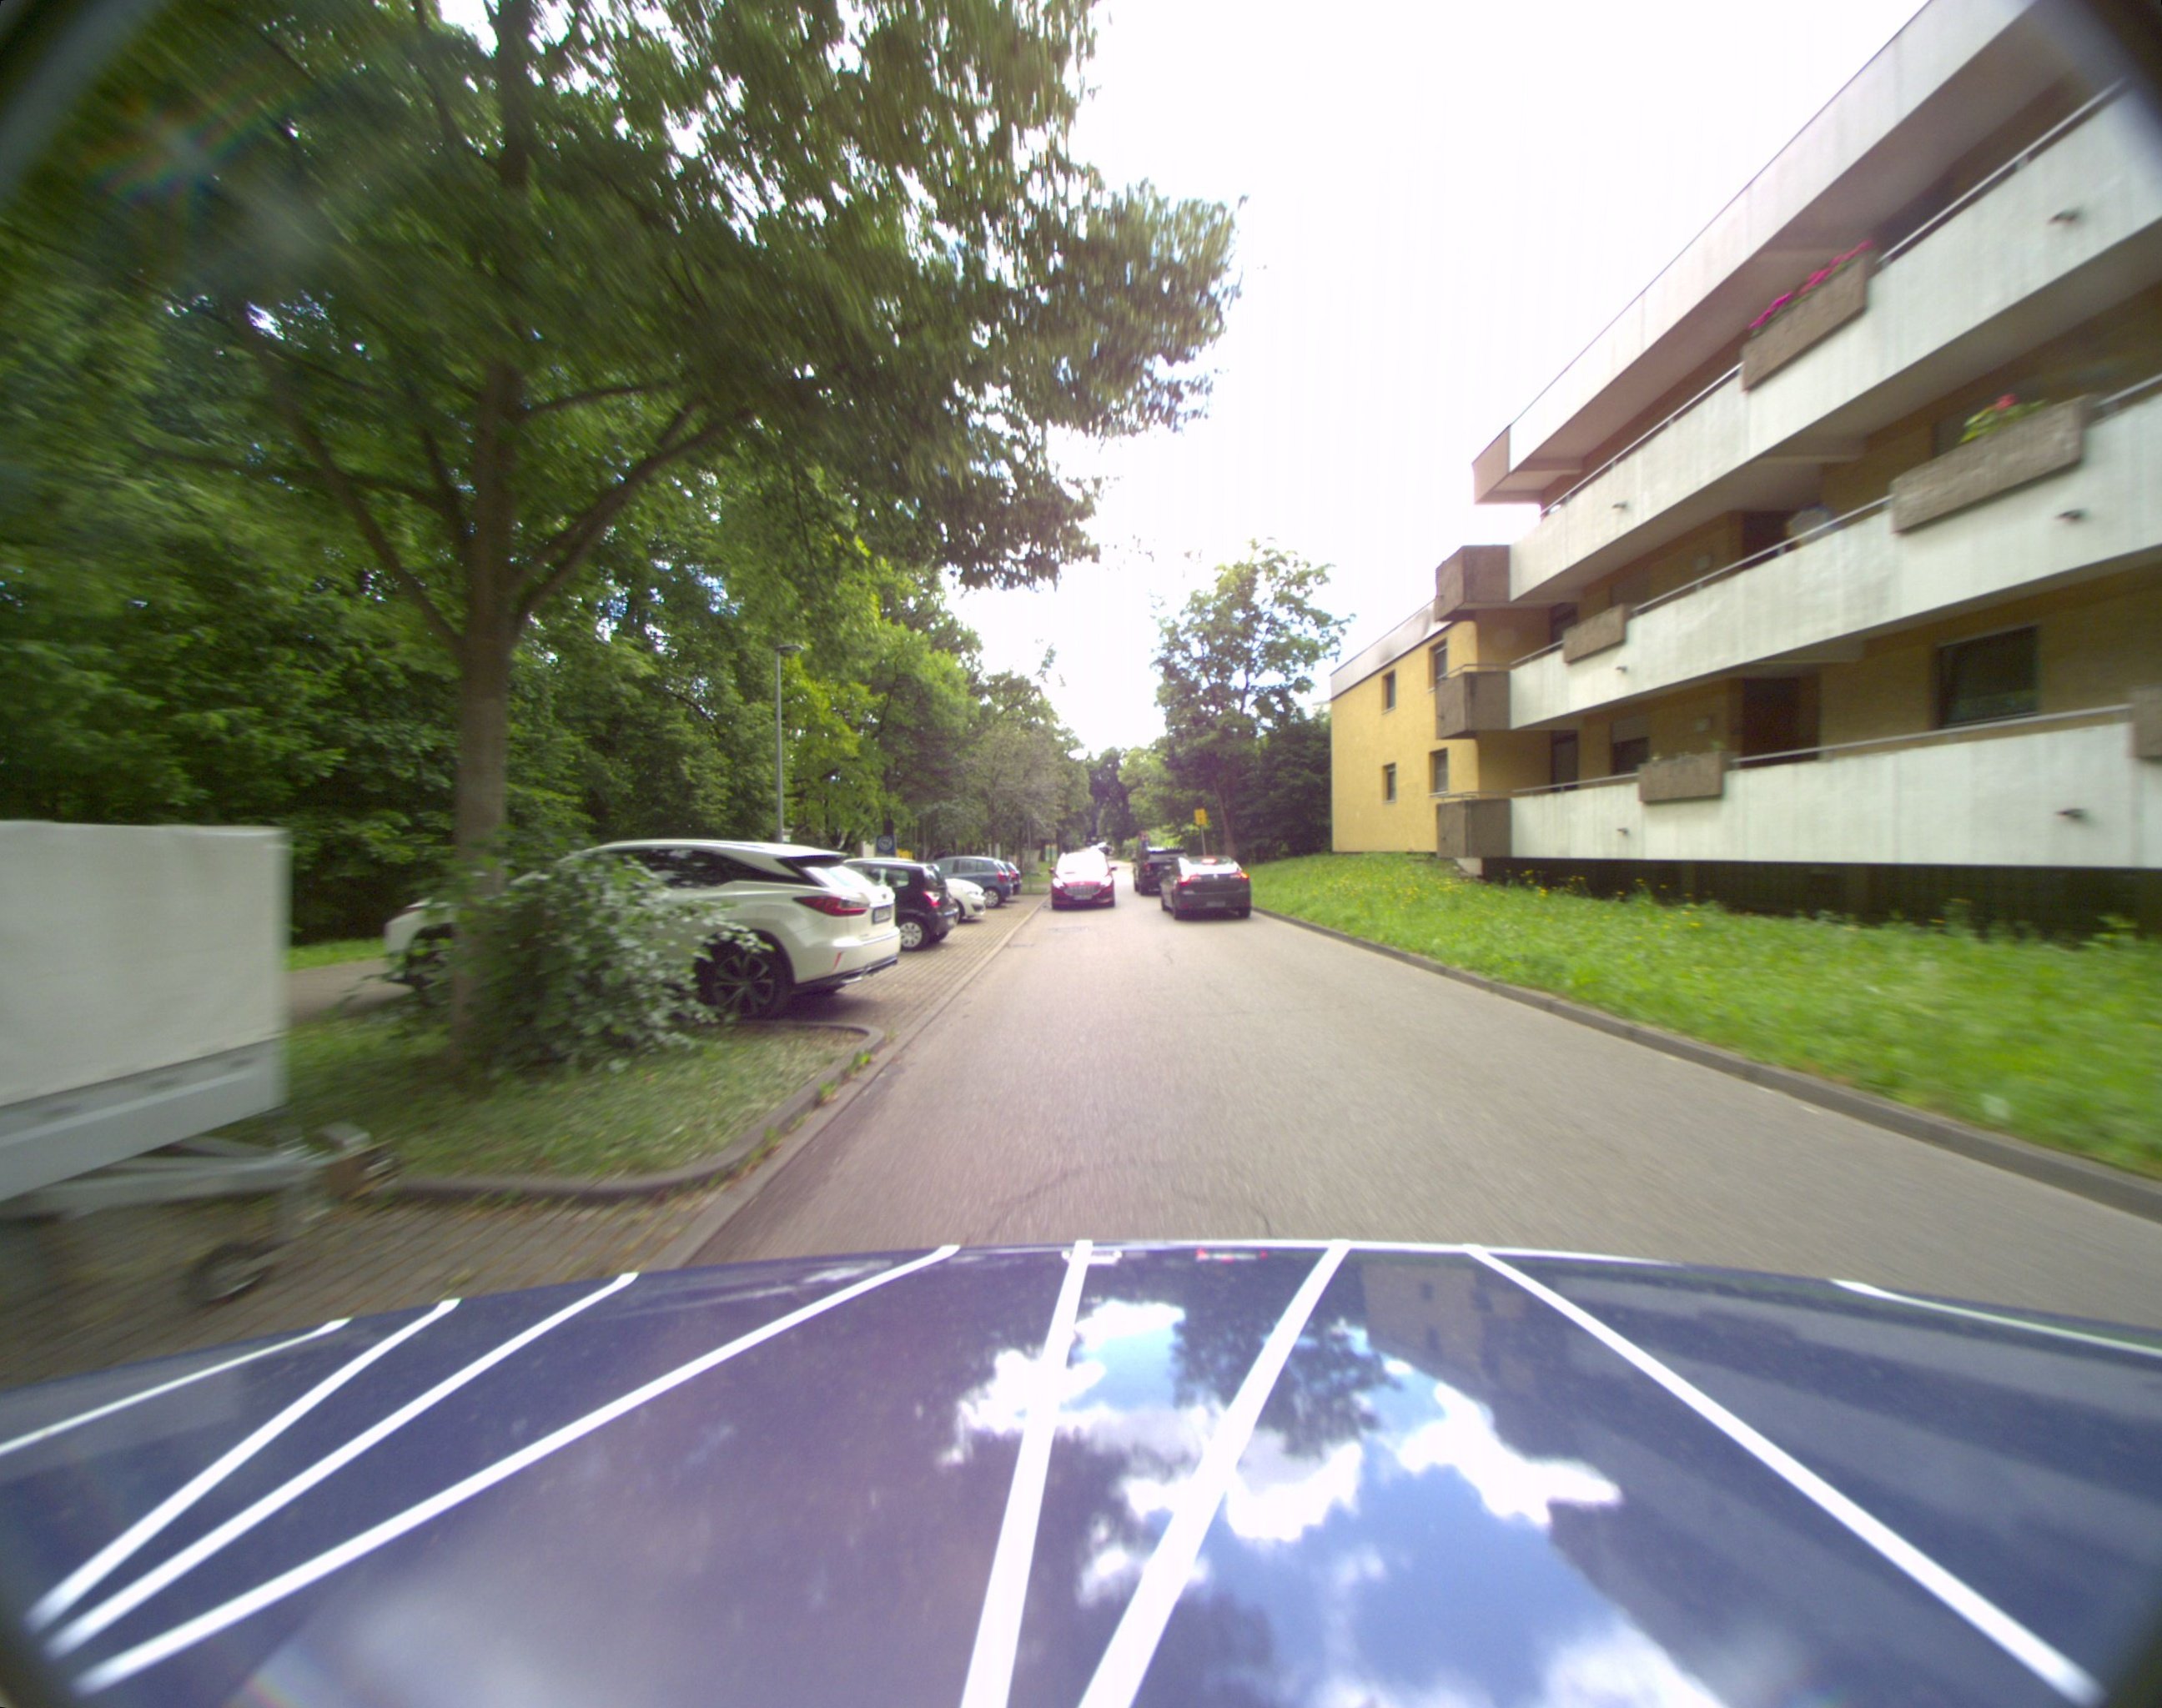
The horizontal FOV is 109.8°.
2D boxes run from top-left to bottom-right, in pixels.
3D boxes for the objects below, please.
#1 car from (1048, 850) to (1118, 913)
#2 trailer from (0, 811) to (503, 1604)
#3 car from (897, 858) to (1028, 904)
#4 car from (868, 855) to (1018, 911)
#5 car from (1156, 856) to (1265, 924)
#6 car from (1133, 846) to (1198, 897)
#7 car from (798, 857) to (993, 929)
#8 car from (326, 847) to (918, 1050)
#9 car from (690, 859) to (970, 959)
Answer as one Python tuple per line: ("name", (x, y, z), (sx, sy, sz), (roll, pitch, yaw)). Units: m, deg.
("car", (0.095, 0.751, 23.796), (1.918, 1.707, 5.038), (-2, 0, 1))
("trailer", (-3.953, 0.771, 2.395), (3.037, 1.780, 1.563), (1, 1, -2))
("car", (-3.890, 0.871, 25.391), (4.097, 1.455, 1.785), (0, 1, -1))
("car", (-4.033, 0.840, 22.726), (4.146, 1.561, 1.785), (0, 1, -1))
("car", (3.016, 0.785, 18.679), (1.918, 1.403, 4.423), (-2, 0, 0))
("car", (3.094, 0.585, 28.712), (1.918, 1.707, 5.058), (-2, 0, 1))
("car", (-4.240, 0.875, 17.868), (4.170, 1.561, 1.785), (0, 1, -3))
("car", (-4.310, 0.802, 7.653), (4.828, 1.683, 1.974), (1, 1, 4))
("car", (-4.175, 0.896, 13.094), (4.168, 1.561, 1.851), (0, 1, 3))
